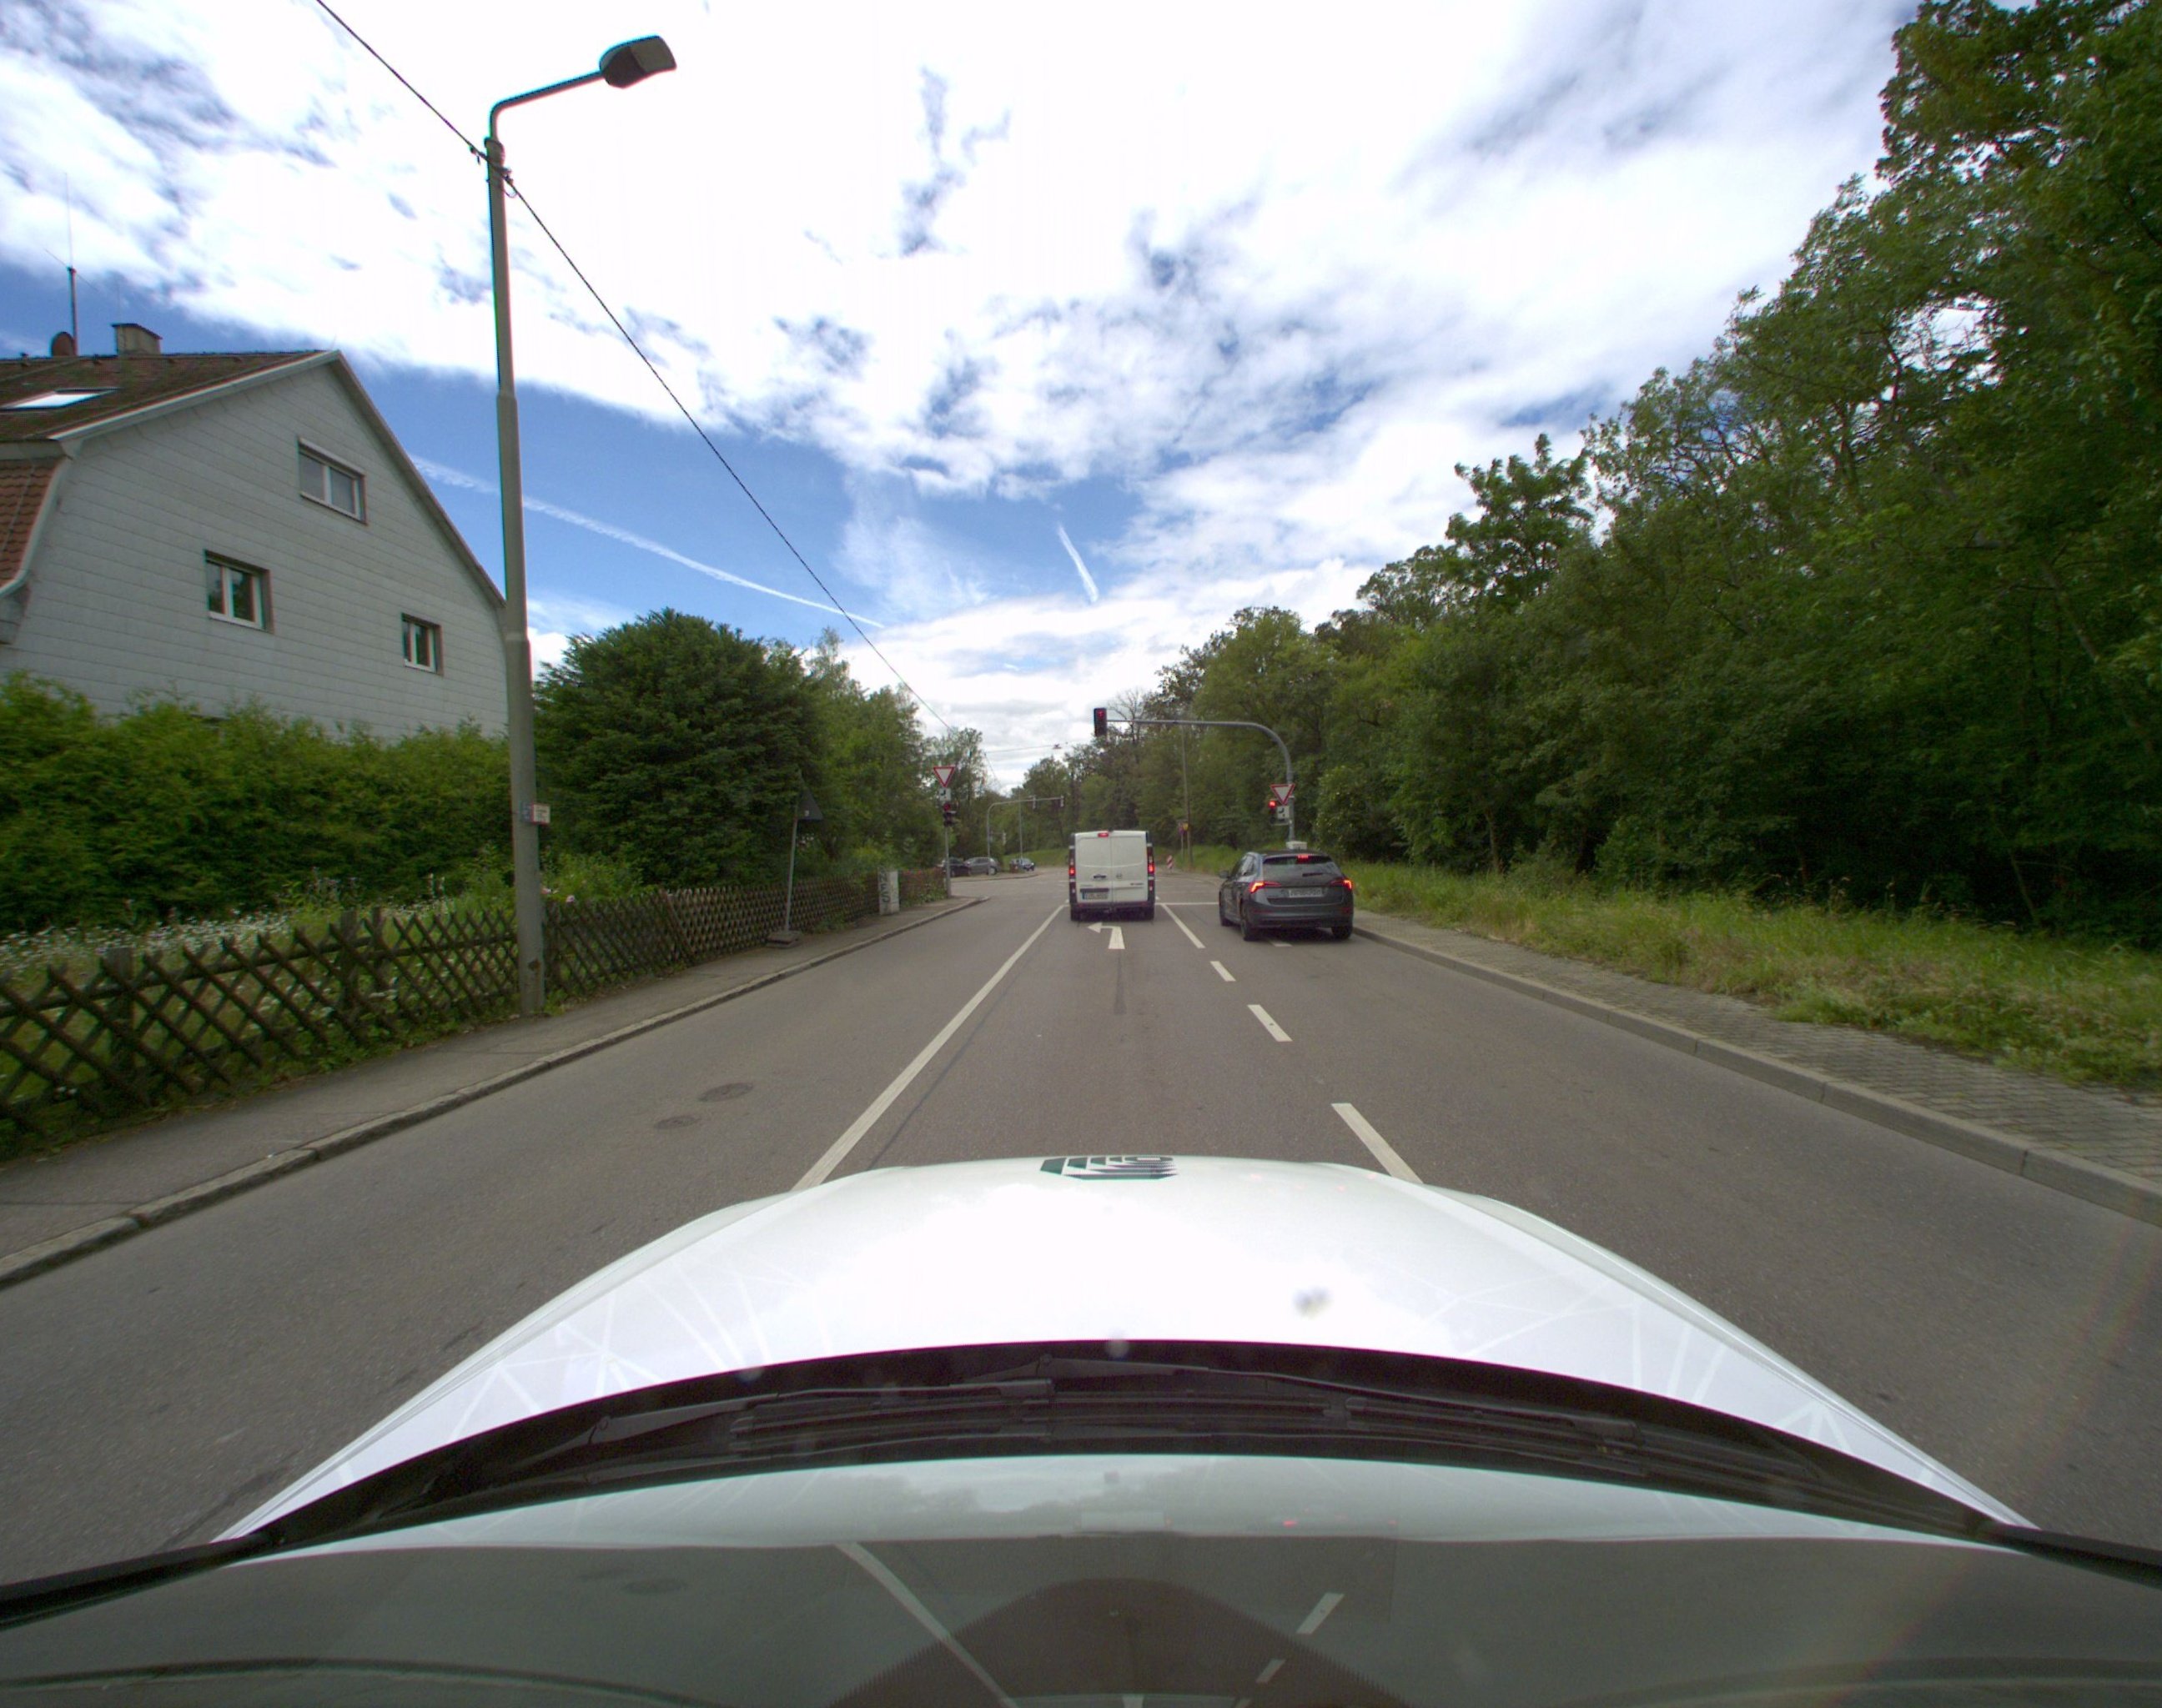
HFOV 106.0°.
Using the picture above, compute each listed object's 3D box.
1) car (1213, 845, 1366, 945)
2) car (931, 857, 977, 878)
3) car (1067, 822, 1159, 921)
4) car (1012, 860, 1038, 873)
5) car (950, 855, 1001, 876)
[{"bbox_3d":[3.497,0.617,14.402,1.786,1.450,4.002,-2,0,2],"label":"car"},{"bbox_3d":[-9.202,0.940,59.105,1.682,1.449,3.562,0,0,22],"label":"car"},{"bbox_3d":[0.675,0.354,19.360,1.910,2.053,4.614,-1,0,0],"label":"car"},{"bbox_3d":[-7.077,1.626,102.613,1.868,1.506,3.963,-3,0,-28],"label":"car"},{"bbox_3d":[-8.985,0.991,69.282,4.093,1.553,1.845,-2,1,-15],"label":"car"}]
